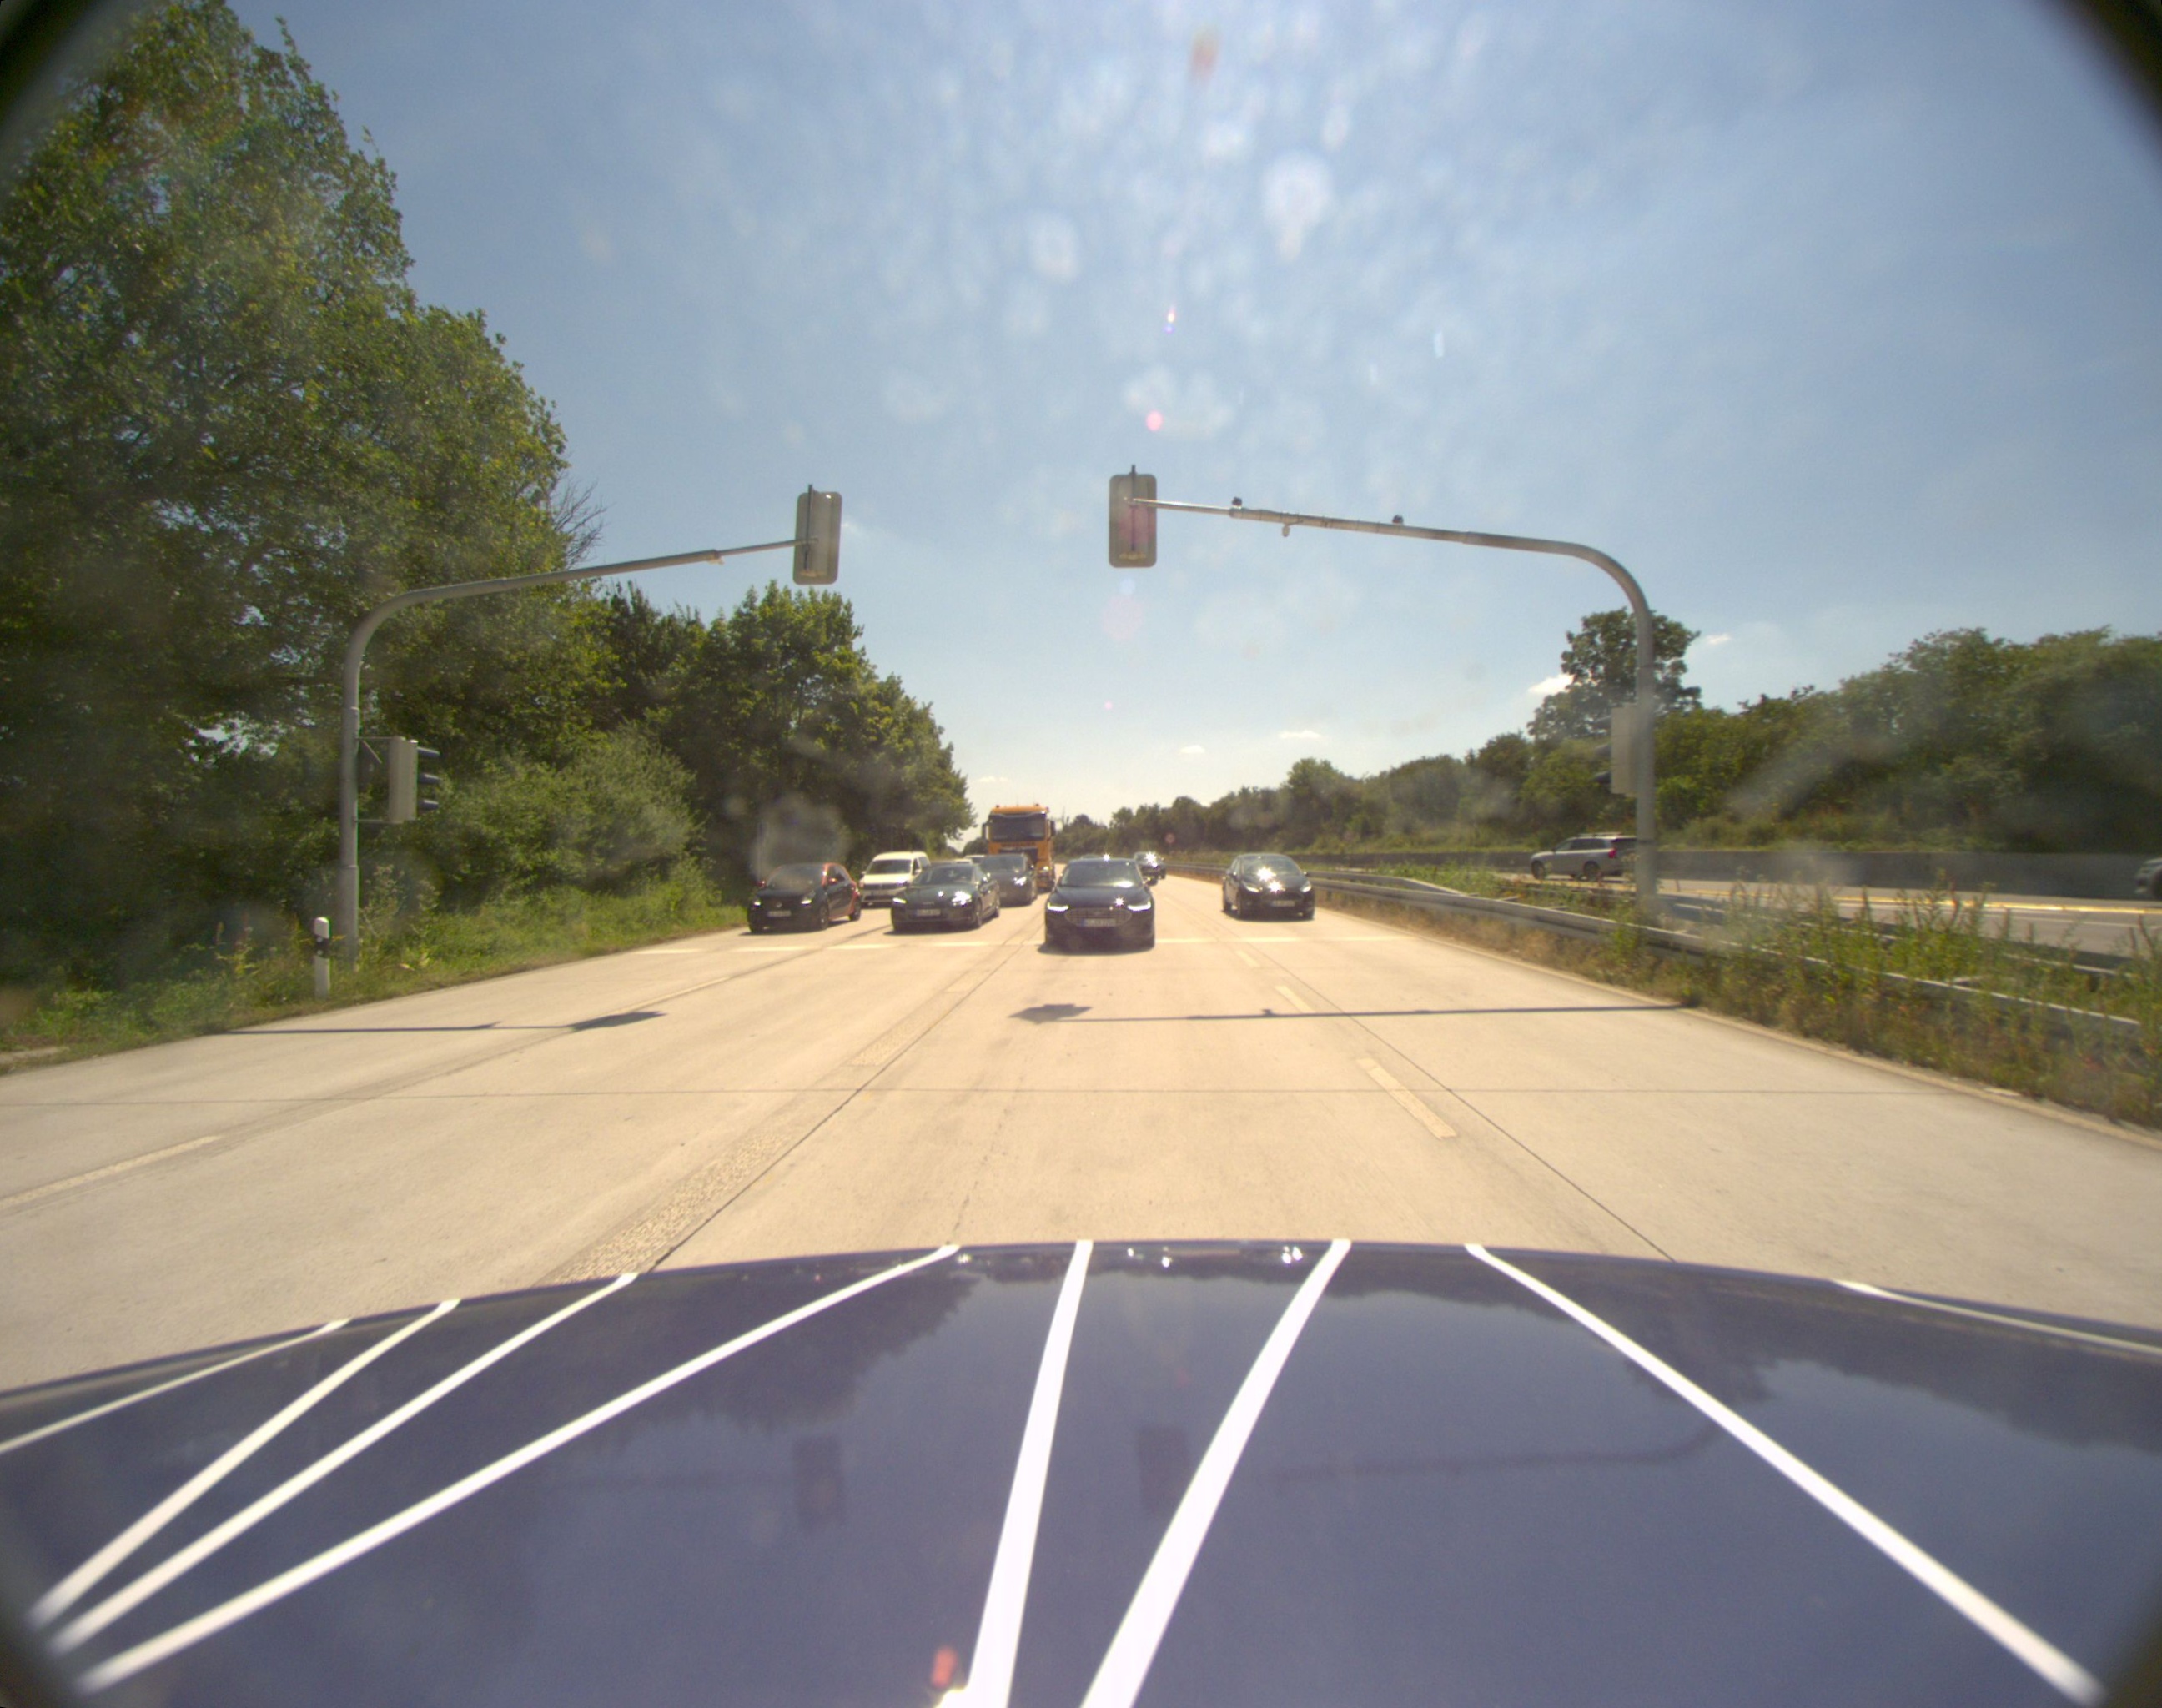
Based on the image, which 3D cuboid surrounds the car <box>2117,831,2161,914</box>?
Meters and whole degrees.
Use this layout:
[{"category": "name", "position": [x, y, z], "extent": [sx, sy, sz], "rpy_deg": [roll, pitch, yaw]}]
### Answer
[{"category": "car", "position": [23.265, 0.376, 13.923], "extent": [2.001, 1.682, 4.650], "rpy_deg": [-1, 1, -15]}]

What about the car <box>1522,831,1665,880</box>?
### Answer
[{"category": "car", "position": [19.983, 0.021, 29.970], "extent": [2.000, 1.763, 4.854], "rpy_deg": [-1, 1, -7]}]

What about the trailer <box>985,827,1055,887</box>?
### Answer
[{"category": "trailer", "position": [-2.992, 0.078, 41.921], "extent": [3.035, 2.578, 16.351], "rpy_deg": [-1, 0, -2]}]

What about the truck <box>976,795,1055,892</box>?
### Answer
[{"category": "truck", "position": [-2.703, -0.460, 33.534], "extent": [3.022, 3.751, 7.467], "rpy_deg": [-1, 1, -2]}]

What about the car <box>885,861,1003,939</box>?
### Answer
[{"category": "car", "position": [-2.988, 0.942, 17.582], "extent": [1.772, 1.402, 4.609], "rpy_deg": [-1, 1, 1]}]

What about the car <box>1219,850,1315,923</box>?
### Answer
[{"category": "car", "position": [4.397, 0.698, 18.463], "extent": [1.626, 1.476, 4.000], "rpy_deg": [-1, 1, 4]}]

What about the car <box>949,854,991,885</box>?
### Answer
[{"category": "car", "position": [-5.904, 0.773, 40.837], "extent": [1.772, 1.454, 4.596], "rpy_deg": [-1, 1, -3]}]

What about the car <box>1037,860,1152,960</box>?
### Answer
[{"category": "car", "position": [0.326, 0.872, 13.814], "extent": [1.730, 1.431, 4.304], "rpy_deg": [-1, 1, 3]}]

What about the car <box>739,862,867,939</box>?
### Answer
[{"category": "car", "position": [-6.514, 1.027, 18.247], "extent": [1.772, 1.501, 3.650], "rpy_deg": [-1, 1, -2]}]

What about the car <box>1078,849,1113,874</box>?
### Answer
[{"category": "car", "position": [0.889, 0.448, 48.737], "extent": [1.891, 1.456, 3.998], "rpy_deg": [-1, 1, -4]}]

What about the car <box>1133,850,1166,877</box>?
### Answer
[{"category": "car", "position": [4.052, 0.548, 45.199], "extent": [1.706, 1.456, 4.000], "rpy_deg": [-1, 1, 2]}]

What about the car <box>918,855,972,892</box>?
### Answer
[{"category": "car", "position": [-6.034, 0.820, 34.222], "extent": [1.772, 1.454, 4.362], "rpy_deg": [-1, 1, -2]}]

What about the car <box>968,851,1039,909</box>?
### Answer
[{"category": "car", "position": [-2.420, 0.762, 24.799], "extent": [1.788, 1.630, 4.646], "rpy_deg": [-1, 1, 0]}]

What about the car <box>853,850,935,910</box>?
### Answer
[{"category": "car", "position": [-6.365, 0.793, 26.358], "extent": [1.772, 1.797, 4.790], "rpy_deg": [-1, 1, -2]}]
